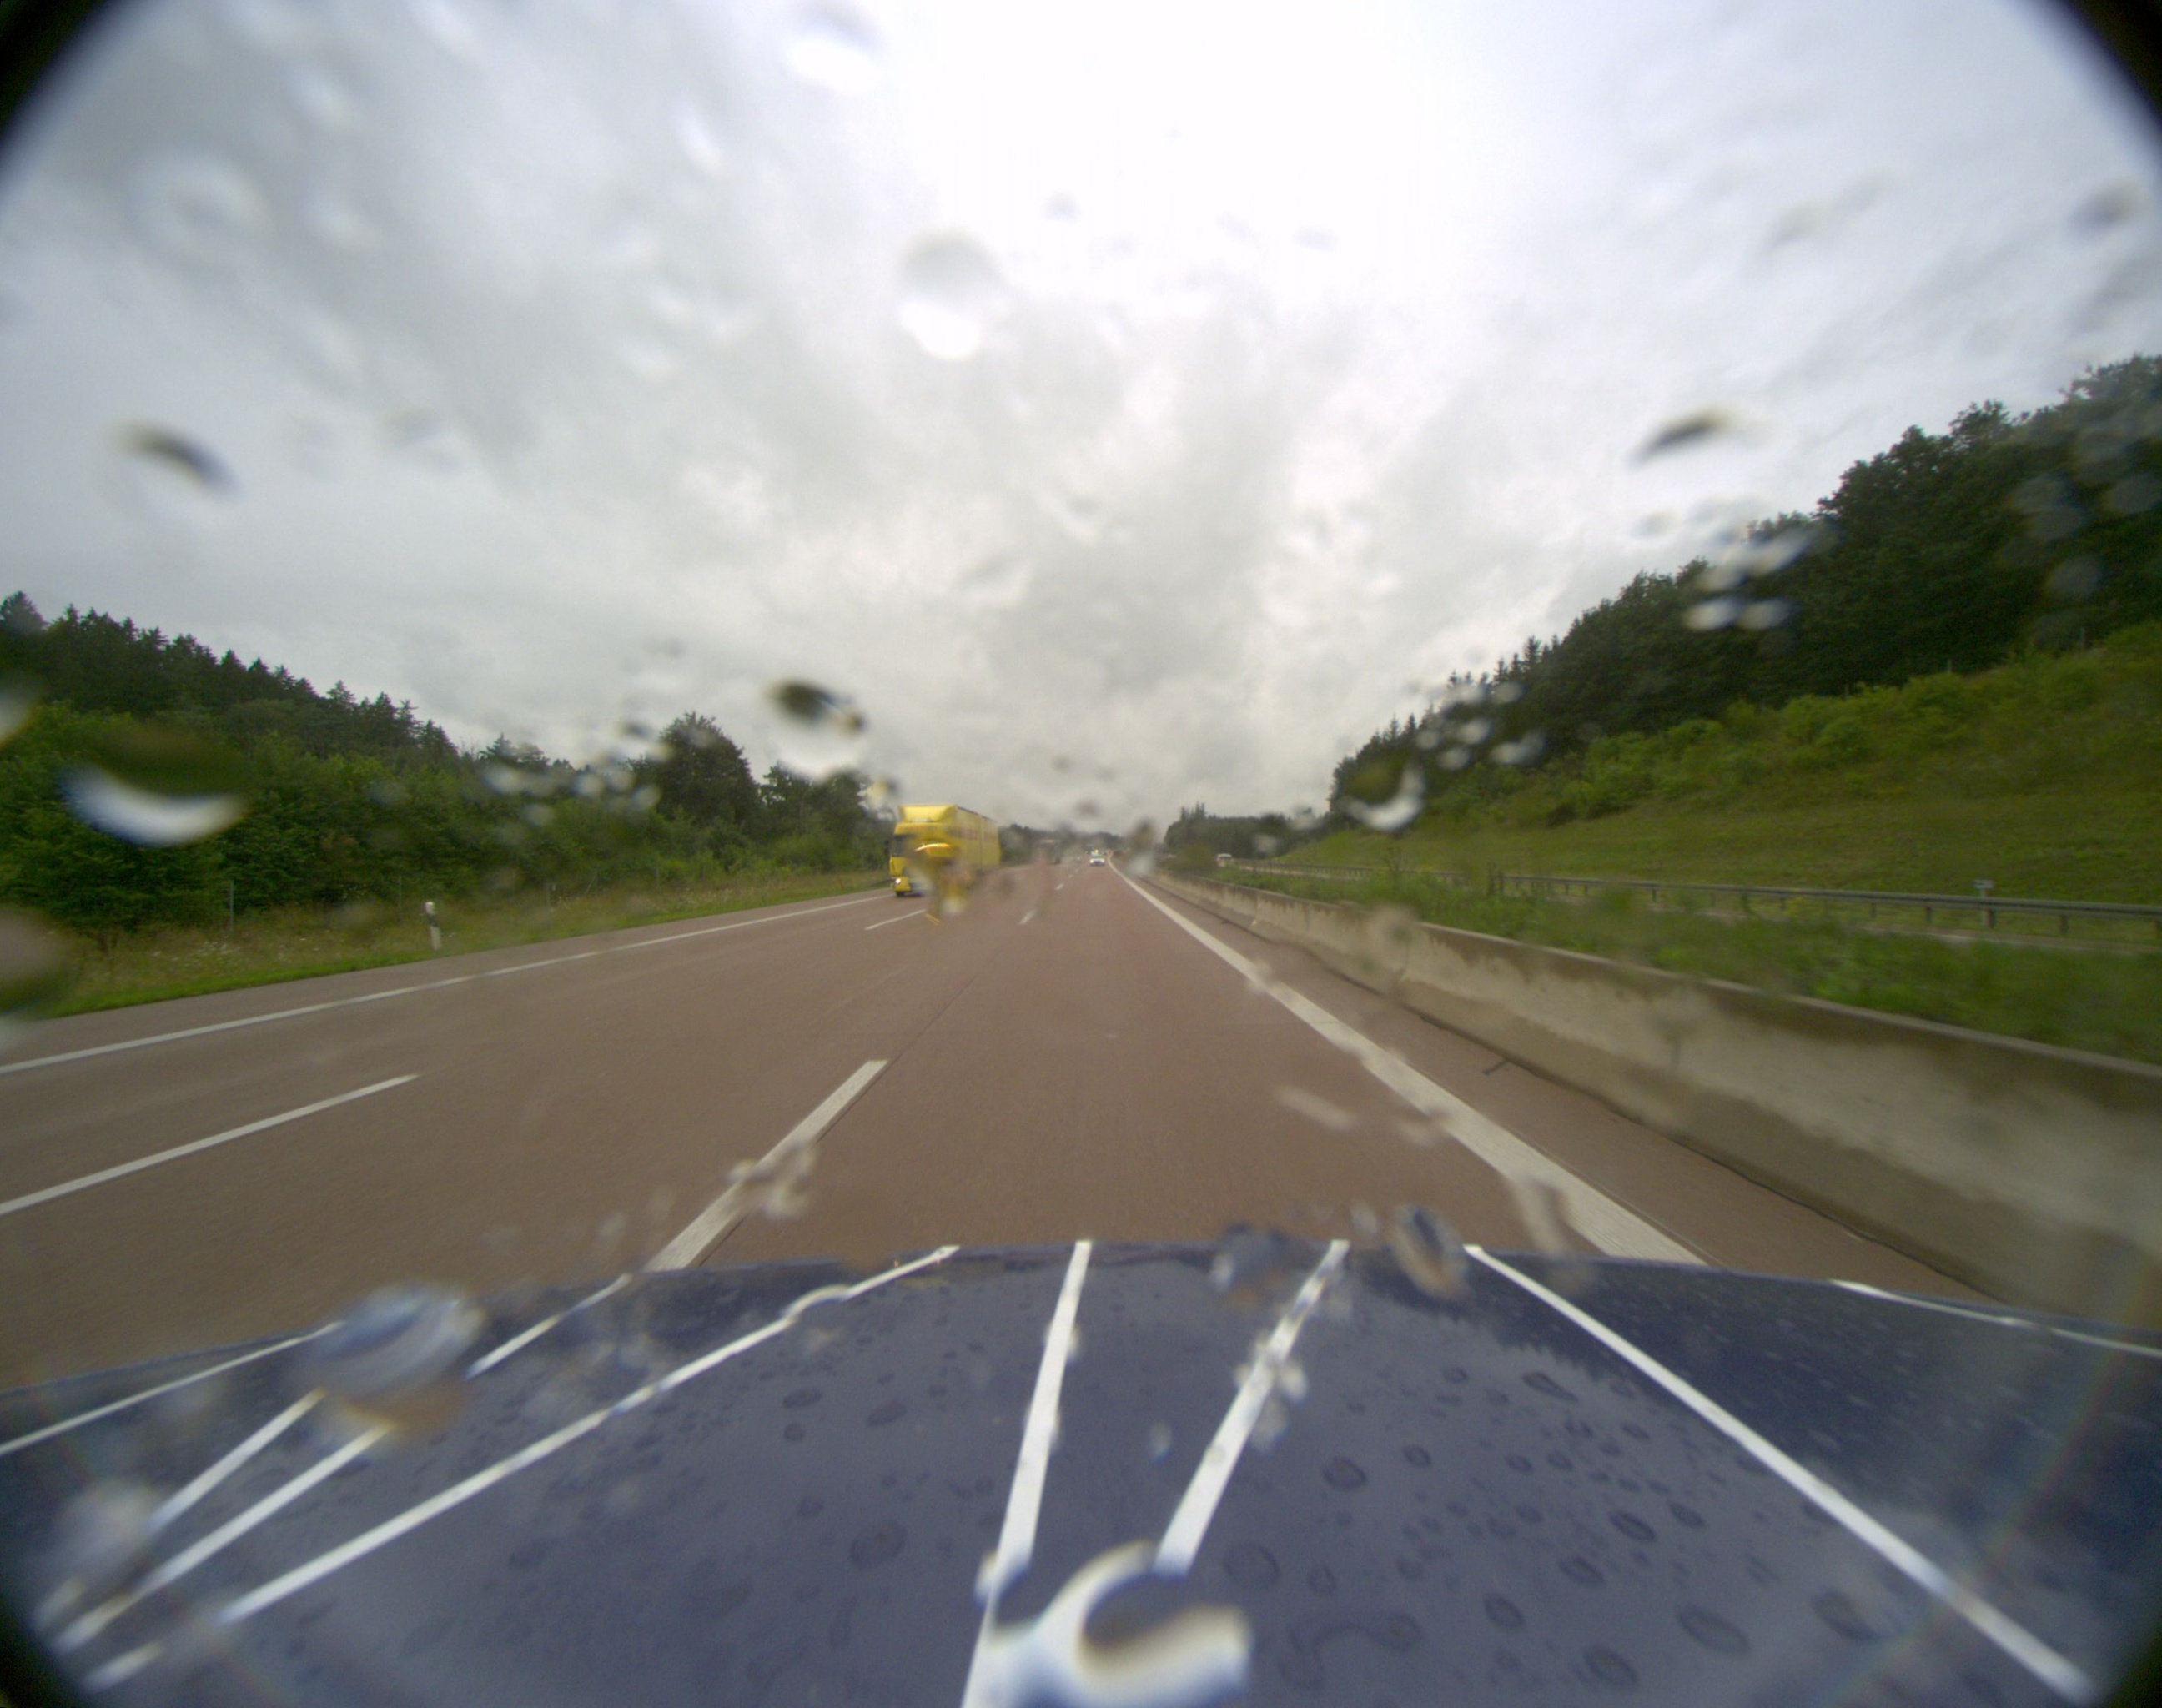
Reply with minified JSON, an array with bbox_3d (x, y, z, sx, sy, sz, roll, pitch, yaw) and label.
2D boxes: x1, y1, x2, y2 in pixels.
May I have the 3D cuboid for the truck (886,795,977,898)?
[{"bbox_3d":[-6.644,-0.341,34.720,2.610,4.190,6.249,-2,1,1],"label":"truck"}]

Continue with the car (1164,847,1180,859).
[{"bbox_3d":[14.600,-0.170,121.980,1.998,1.710,4.259,-2,1,1],"label":"car"}]

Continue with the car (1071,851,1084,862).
[{"bbox_3d":[-0.572,0.440,126.453,1.998,1.623,4.931,-2,1,1],"label":"car"}]

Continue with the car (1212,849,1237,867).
[{"bbox_3d":[14.806,0.403,78.618,1.818,1.713,4.951,0,1,1],"label":"car"}]

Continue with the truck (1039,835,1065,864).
[{"bbox_3d":[-4.645,-0.857,124.928,3.190,4.349,14.703,-2,1,1],"label":"truck"}]

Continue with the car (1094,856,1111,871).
[{"bbox_3d":[2.656,1.145,94.671,1.998,1.623,4.931,-2,1,1],"label":"car"}]

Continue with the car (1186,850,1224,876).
[{"bbox_3d":[9.445,0.622,58.316,2.053,1.766,5.324,-2,1,1],"label":"car"}]

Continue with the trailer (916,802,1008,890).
[{"bbox_3d":[-6.434,-0.478,43.827,2.571,4.204,14.079,-2,1,1],"label":"trailer"}]
